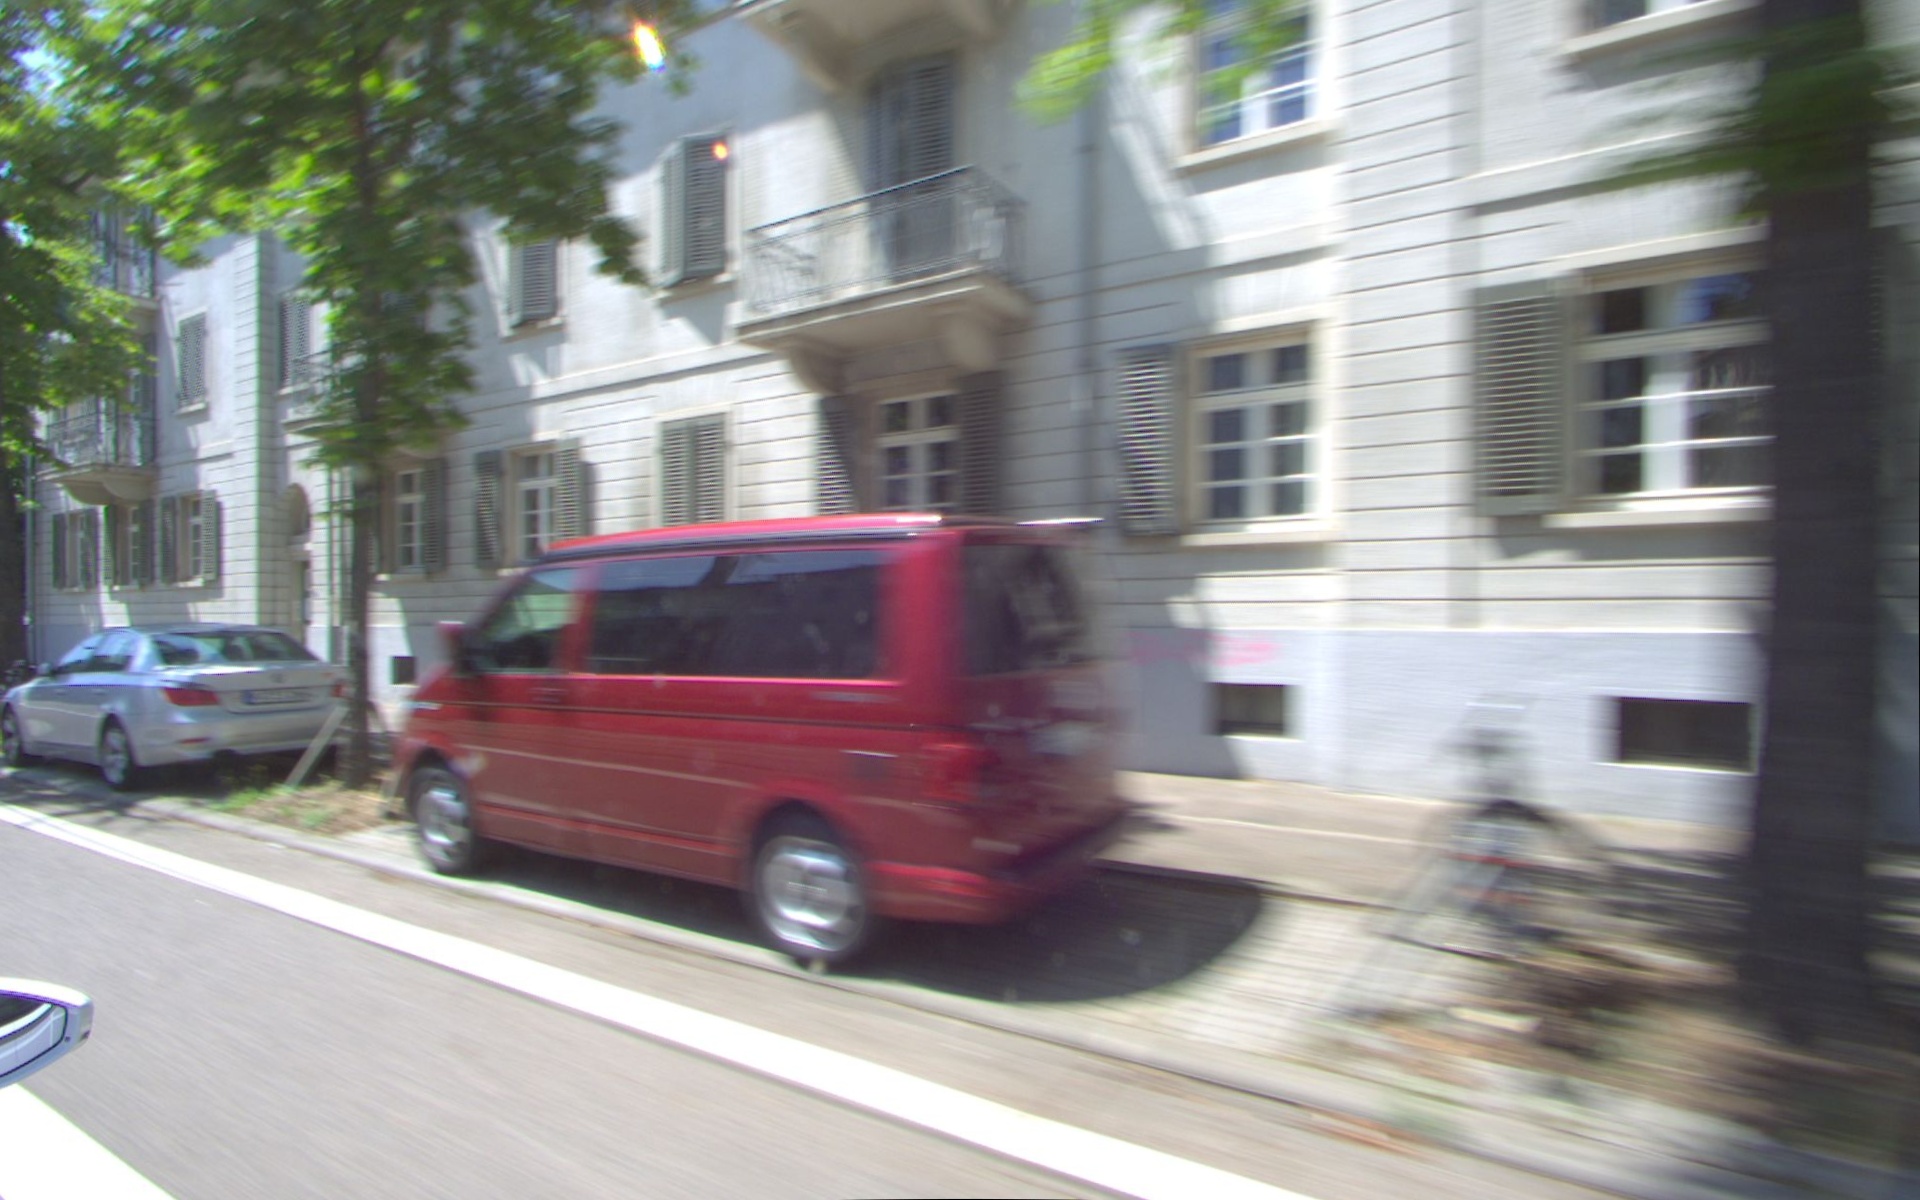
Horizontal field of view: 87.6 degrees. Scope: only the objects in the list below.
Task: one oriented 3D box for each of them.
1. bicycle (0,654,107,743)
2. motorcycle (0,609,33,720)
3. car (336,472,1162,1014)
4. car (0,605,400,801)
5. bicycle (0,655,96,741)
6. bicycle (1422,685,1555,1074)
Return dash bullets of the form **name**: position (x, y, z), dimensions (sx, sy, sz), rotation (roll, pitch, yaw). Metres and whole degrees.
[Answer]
- **bicycle**: position (-11.475, 1.193, 12.169), dimensions (0.366, 1.029, 1.654), rotation (0, -1, 33)
- **motorcycle**: position (-14.158, 0.898, 14.655), dimensions (2.531, 1.526, 0.741), rotation (0, 0, 44)
- **car**: position (-1.471, 0.585, 5.899), dimensions (4.905, 2.039, 1.856), rotation (-1, -1, 33)
- **car**: position (-7.935, 0.928, 10.240), dimensions (4.809, 1.597, 1.856), rotation (-2, -2, 33)
- **bicycle**: position (-11.828, 1.214, 12.414), dimensions (0.366, 1.029, 1.654), rotation (0, -1, 33)
- **bicycle**: position (1.989, 0.907, 3.836), dimensions (0.359, 1.035, 1.696), rotation (0, 0, 26)
